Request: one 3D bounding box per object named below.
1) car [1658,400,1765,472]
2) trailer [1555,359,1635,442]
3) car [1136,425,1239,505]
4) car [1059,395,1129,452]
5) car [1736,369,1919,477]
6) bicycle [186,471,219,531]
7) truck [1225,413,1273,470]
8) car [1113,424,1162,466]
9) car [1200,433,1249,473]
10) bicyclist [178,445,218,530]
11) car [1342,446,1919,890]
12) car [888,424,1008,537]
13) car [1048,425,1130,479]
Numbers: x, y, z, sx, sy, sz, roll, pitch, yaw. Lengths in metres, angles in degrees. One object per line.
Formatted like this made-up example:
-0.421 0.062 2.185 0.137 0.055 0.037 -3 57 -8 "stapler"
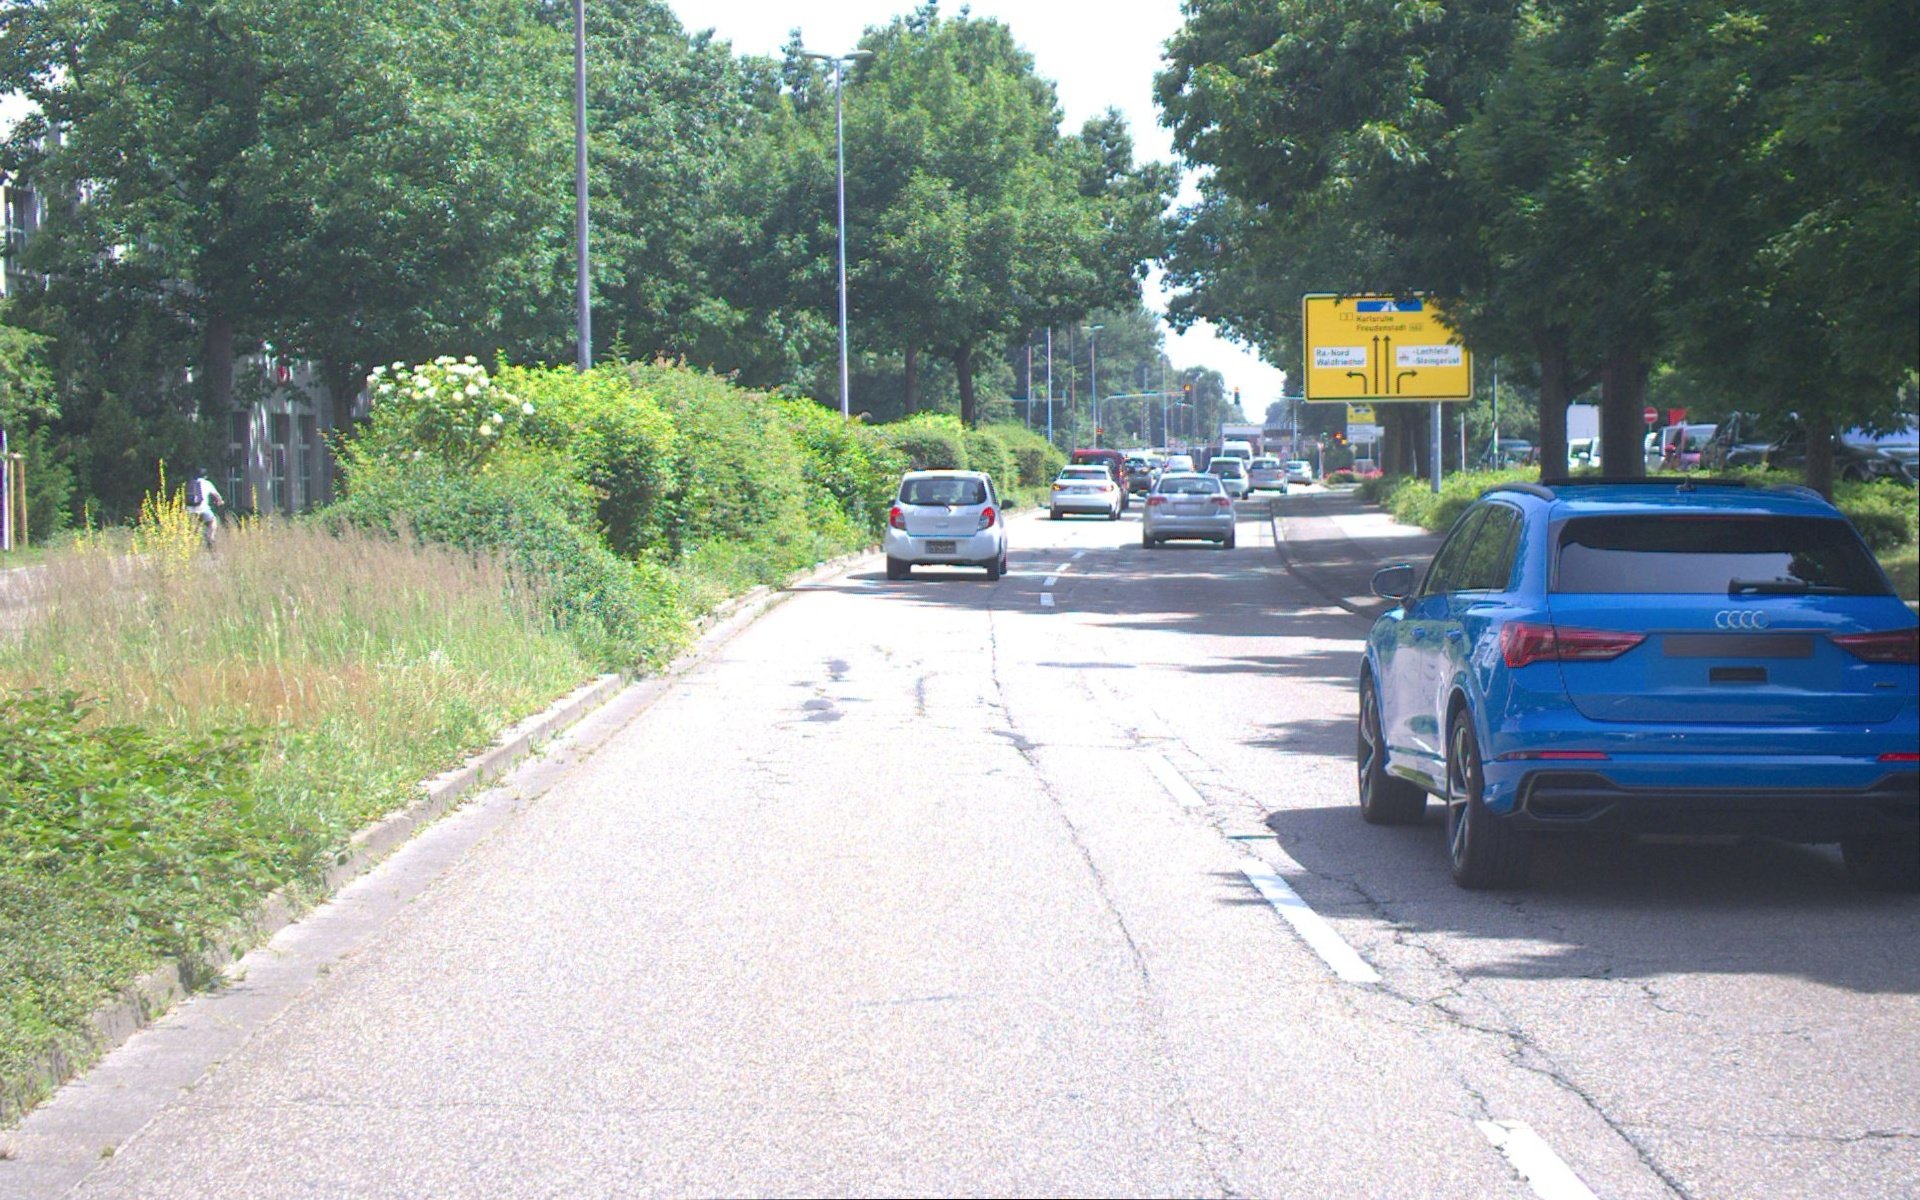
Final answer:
13.493 -2.927 61.868 1.619 1.248 3.763 1 2 8 "car"
16.165 -5.070 87.727 1.701 2.048 5.483 0 3 7 "trailer"
4.340 -2.558 65.224 1.866 1.468 4.000 0 2 5 "car"
4.047 -5.306 103.202 1.885 1.602 4.000 -2 3 5 "car"
13.017 -2.502 49.390 1.905 1.446 5.603 0 2 -6 "car"
-13.607 -1.783 61.773 0.346 1.064 0.923 -2 2 0 "bicycle"
18.384 -10.053 218.292 2.932 3.490 9.157 -1 3 5 "truck"
6.047 -5.283 117.499 1.487 1.387 3.308 0 2 0 "car"
9.459 -5.255 123.121 1.441 1.343 3.460 -2 2 0 "car"
-13.675 -2.024 61.725 0.545 1.504 0.343 -3 2 0 "bicyclist"
2.787 0.164 14.509 1.808 1.587 4.350 0 2 -1 "car"
-0.146 -1.714 49.157 1.638 1.546 3.325 0 2 1 "car"
3.354 -3.804 88.802 1.885 1.349 4.000 0 2 5 "car"
